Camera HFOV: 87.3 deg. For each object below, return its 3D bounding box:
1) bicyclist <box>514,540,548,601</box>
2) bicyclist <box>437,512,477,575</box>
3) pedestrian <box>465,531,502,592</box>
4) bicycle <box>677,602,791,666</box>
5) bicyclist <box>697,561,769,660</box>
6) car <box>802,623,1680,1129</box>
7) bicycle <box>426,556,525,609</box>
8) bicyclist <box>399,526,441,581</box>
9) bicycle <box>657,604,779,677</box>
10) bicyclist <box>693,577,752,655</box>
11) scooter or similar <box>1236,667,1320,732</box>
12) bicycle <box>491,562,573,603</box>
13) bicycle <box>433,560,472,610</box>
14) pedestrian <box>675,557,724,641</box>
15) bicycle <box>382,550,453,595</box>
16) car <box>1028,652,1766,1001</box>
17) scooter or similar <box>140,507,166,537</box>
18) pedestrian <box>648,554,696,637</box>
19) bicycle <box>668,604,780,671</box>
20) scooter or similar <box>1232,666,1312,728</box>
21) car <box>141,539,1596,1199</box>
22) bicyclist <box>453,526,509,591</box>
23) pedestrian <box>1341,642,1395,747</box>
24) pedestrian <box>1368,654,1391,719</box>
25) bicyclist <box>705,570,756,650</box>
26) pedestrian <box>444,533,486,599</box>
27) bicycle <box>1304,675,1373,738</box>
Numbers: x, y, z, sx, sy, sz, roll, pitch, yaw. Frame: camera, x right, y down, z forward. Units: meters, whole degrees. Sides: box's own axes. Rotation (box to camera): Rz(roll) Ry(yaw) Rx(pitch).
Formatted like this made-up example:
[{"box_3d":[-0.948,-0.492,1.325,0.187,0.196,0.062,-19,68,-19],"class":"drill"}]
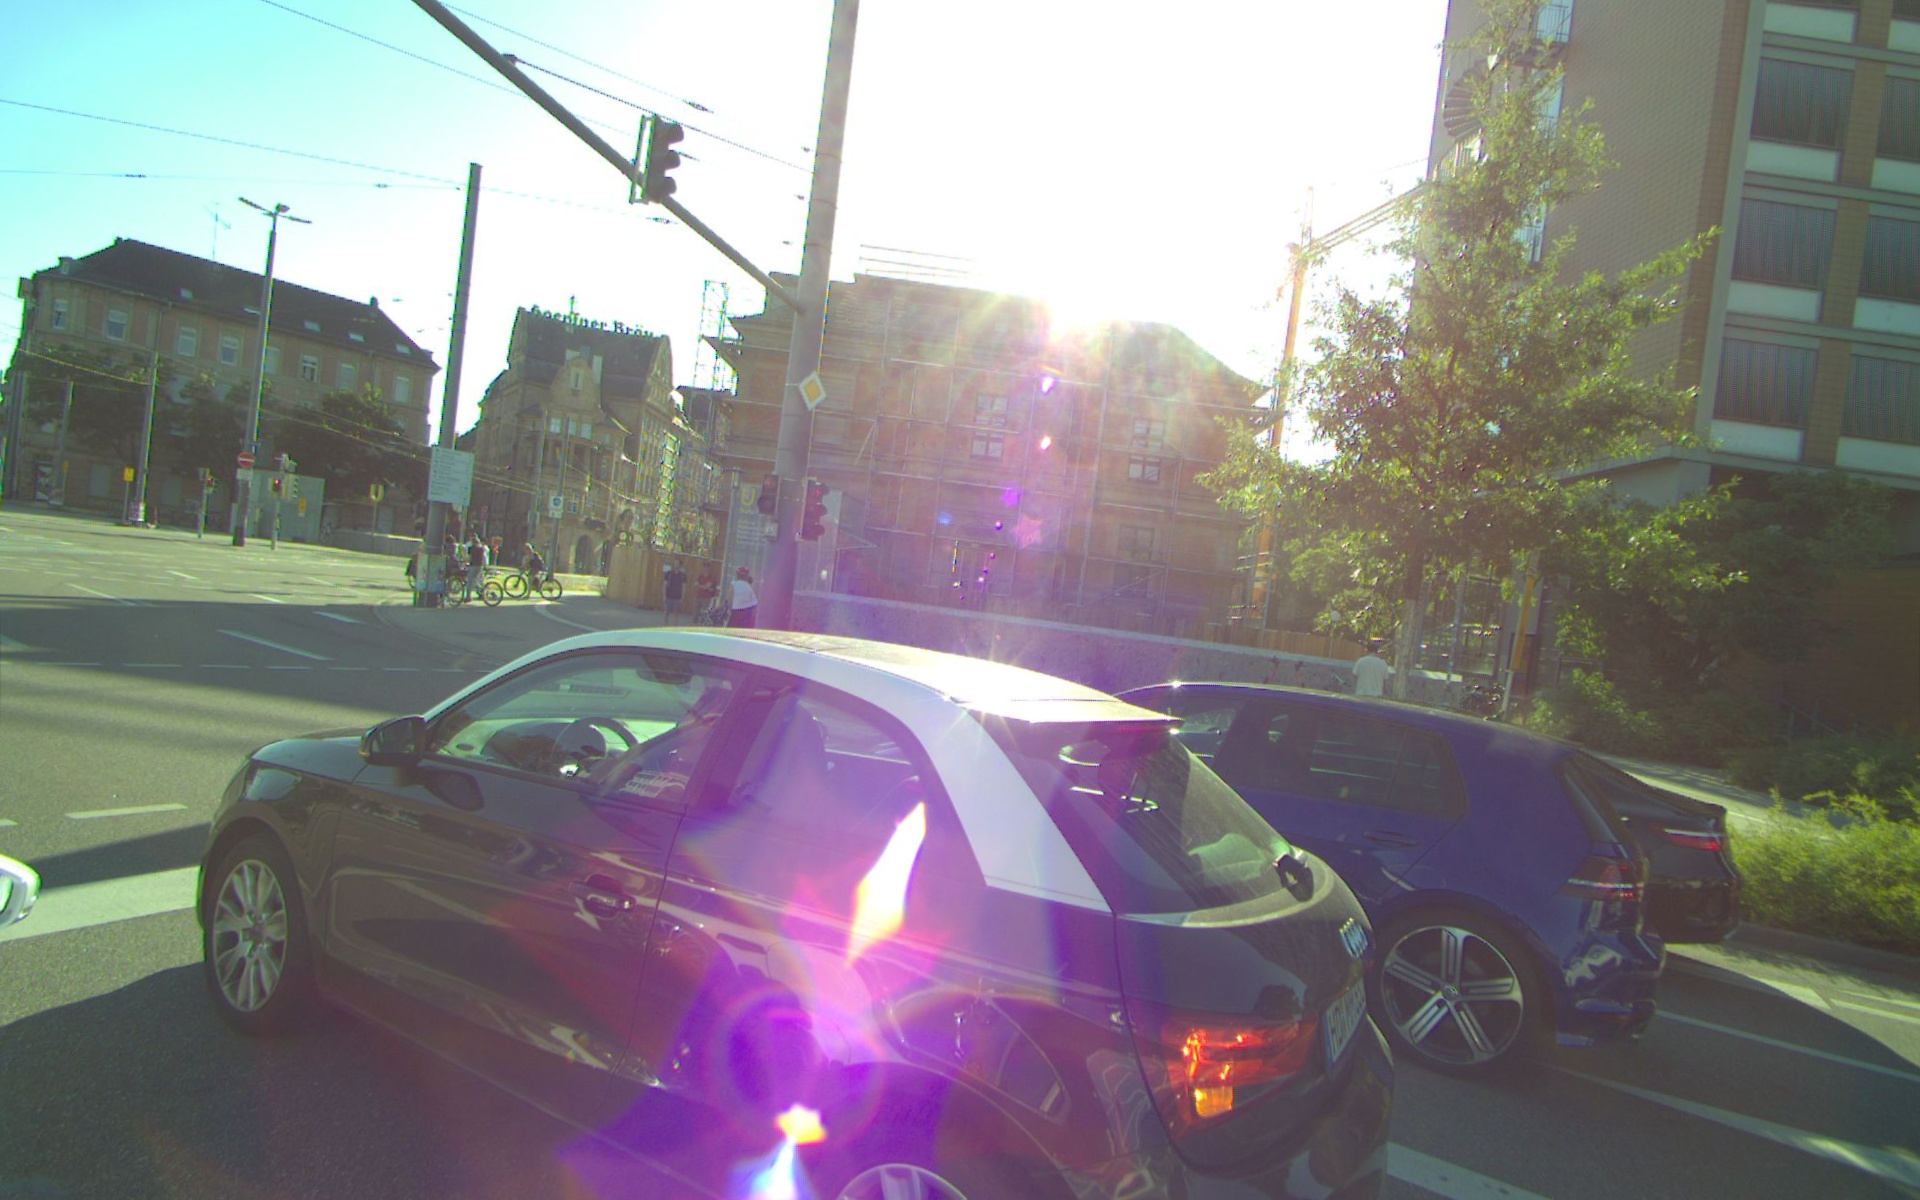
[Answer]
[{"box_3d":[-13.465,-0.928,31.596,0.785,1.800,0.520,8,-1,-23],"class":"bicyclist"},{"box_3d":[-12.596,-1.392,25.185,0.703,1.456,0.940,8,-1,-30],"class":"bicyclist"},{"box_3d":[-16.140,-1.288,34.092,0.678,1.945,0.649,7,-1,25],"class":"pedestrian"},{"box_3d":[-4.433,0.651,19.789,1.997,0.976,0.660,7,2,5],"class":"bicycle"},{"box_3d":[-3.880,0.186,17.195,0.781,1.571,0.668,7,-1,27],"class":"bicyclist"},{"box_3d":[1.265,1.098,5.354,3.934,1.420,1.627,6,-2,32],"class":"car"},{"box_3d":[-12.838,-0.460,26.674,2.276,1.061,0.702,7,-1,8],"class":"bicycle"},{"box_3d":[-16.829,-1.460,31.361,0.930,1.575,0.516,7,-1,24],"class":"bicyclist"},{"box_3d":[-4.170,0.692,17.308,1.999,0.974,0.660,6,-1,27],"class":"bicycle"},{"box_3d":[-4.384,0.298,18.602,0.662,1.330,0.617,7,-1,27],"class":"bicyclist"},{"box_3d":[5.915,1.834,18.713,1.348,1.007,0.342,7,-1,25],"class":"scooter or similar"},{"box_3d":[-13.437,-0.548,31.626,2.289,1.063,0.532,5,2,-25],"class":"bicycle"},{"box_3d":[-12.724,-0.399,25.188,0.693,1.061,2.303,9,-1,-29],"class":"bicycle"},{"box_3d":[-5.989,-0.018,23.155,0.672,1.828,0.672,7,-1,11],"class":"pedestrian"},{"box_3d":[-16.908,-0.864,31.355,2.278,1.061,0.536,8,-1,24],"class":"bicycle"},{"box_3d":[2.941,1.408,7.490,4.435,1.420,1.727,6,-2,30],"class":"car"},{"box_3d":[-41.892,-4.051,52.227,0.784,1.392,1.885,8,-2,-44],"class":"scooter or similar"},{"box_3d":[-6.663,-0.102,23.311,0.672,1.830,0.672,7,2,11],"class":"pedestrian"},{"box_3d":[-4.369,0.677,18.579,1.999,0.976,0.659,6,2,27],"class":"bicycle"},{"box_3d":[6.029,1.872,19.465,1.346,1.007,0.343,7,-1,13],"class":"scooter or similar"},{"box_3d":[-0.539,0.765,2.984,3.934,1.420,1.627,6,-2,32],"class":"car"},{"box_3d":[-12.697,-1.088,26.670,0.929,1.575,0.711,7,-1,7],"class":"bicyclist"},{"box_3d":[6.867,1.570,16.929,0.592,1.662,0.677,7,3,29],"class":"pedestrian"},{"box_3d":[11.777,2.424,28.269,0.369,1.752,0.444,7,-1,17],"class":"pedestrian"},{"box_3d":[-4.511,0.213,19.794,0.661,1.471,0.618,7,-1,3],"class":"bicyclist"},{"box_3d":[-16.427,-1.128,33.397,0.748,2.037,0.733,7,-1,25],"class":"pedestrian"},{"box_3d":[7.014,1.961,18.675,0.352,1.015,1.149,8,-2,-29],"class":"bicycle"}]
